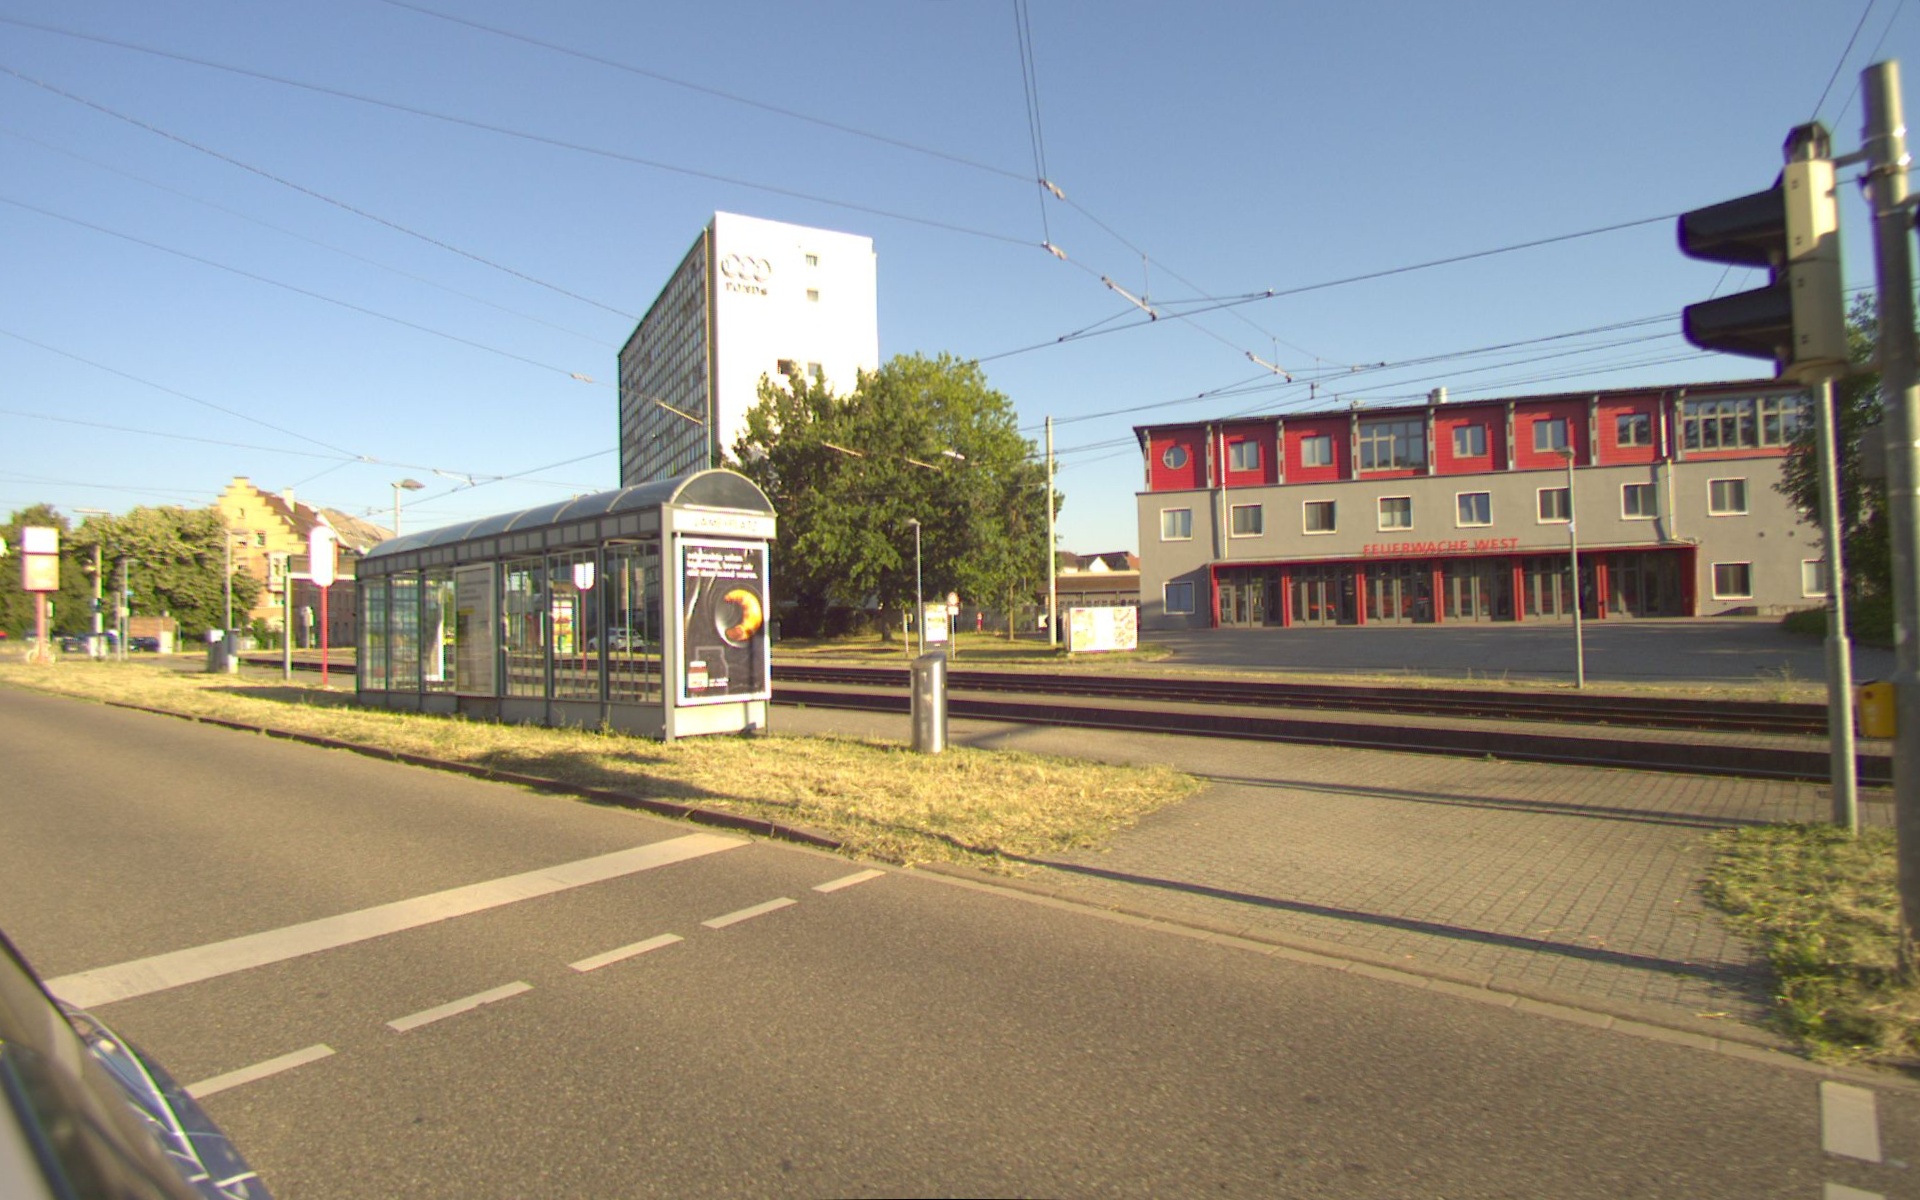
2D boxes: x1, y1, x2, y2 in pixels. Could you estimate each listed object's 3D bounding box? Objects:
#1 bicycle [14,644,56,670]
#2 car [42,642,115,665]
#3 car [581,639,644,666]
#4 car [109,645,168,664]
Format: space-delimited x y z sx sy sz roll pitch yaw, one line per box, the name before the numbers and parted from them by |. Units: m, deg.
bicycle | -36.039 2.208 39.451 0.597 1.001 1.752 0 -2 -20
car | -60.441 3.633 69.492 1.716 1.485 3.981 -1 -2 -3
car | -21.098 3.199 61.323 4.436 1.560 1.717 -3 -3 43
car | -66.280 4.344 81.696 1.716 1.425 3.981 -1 -2 -3
